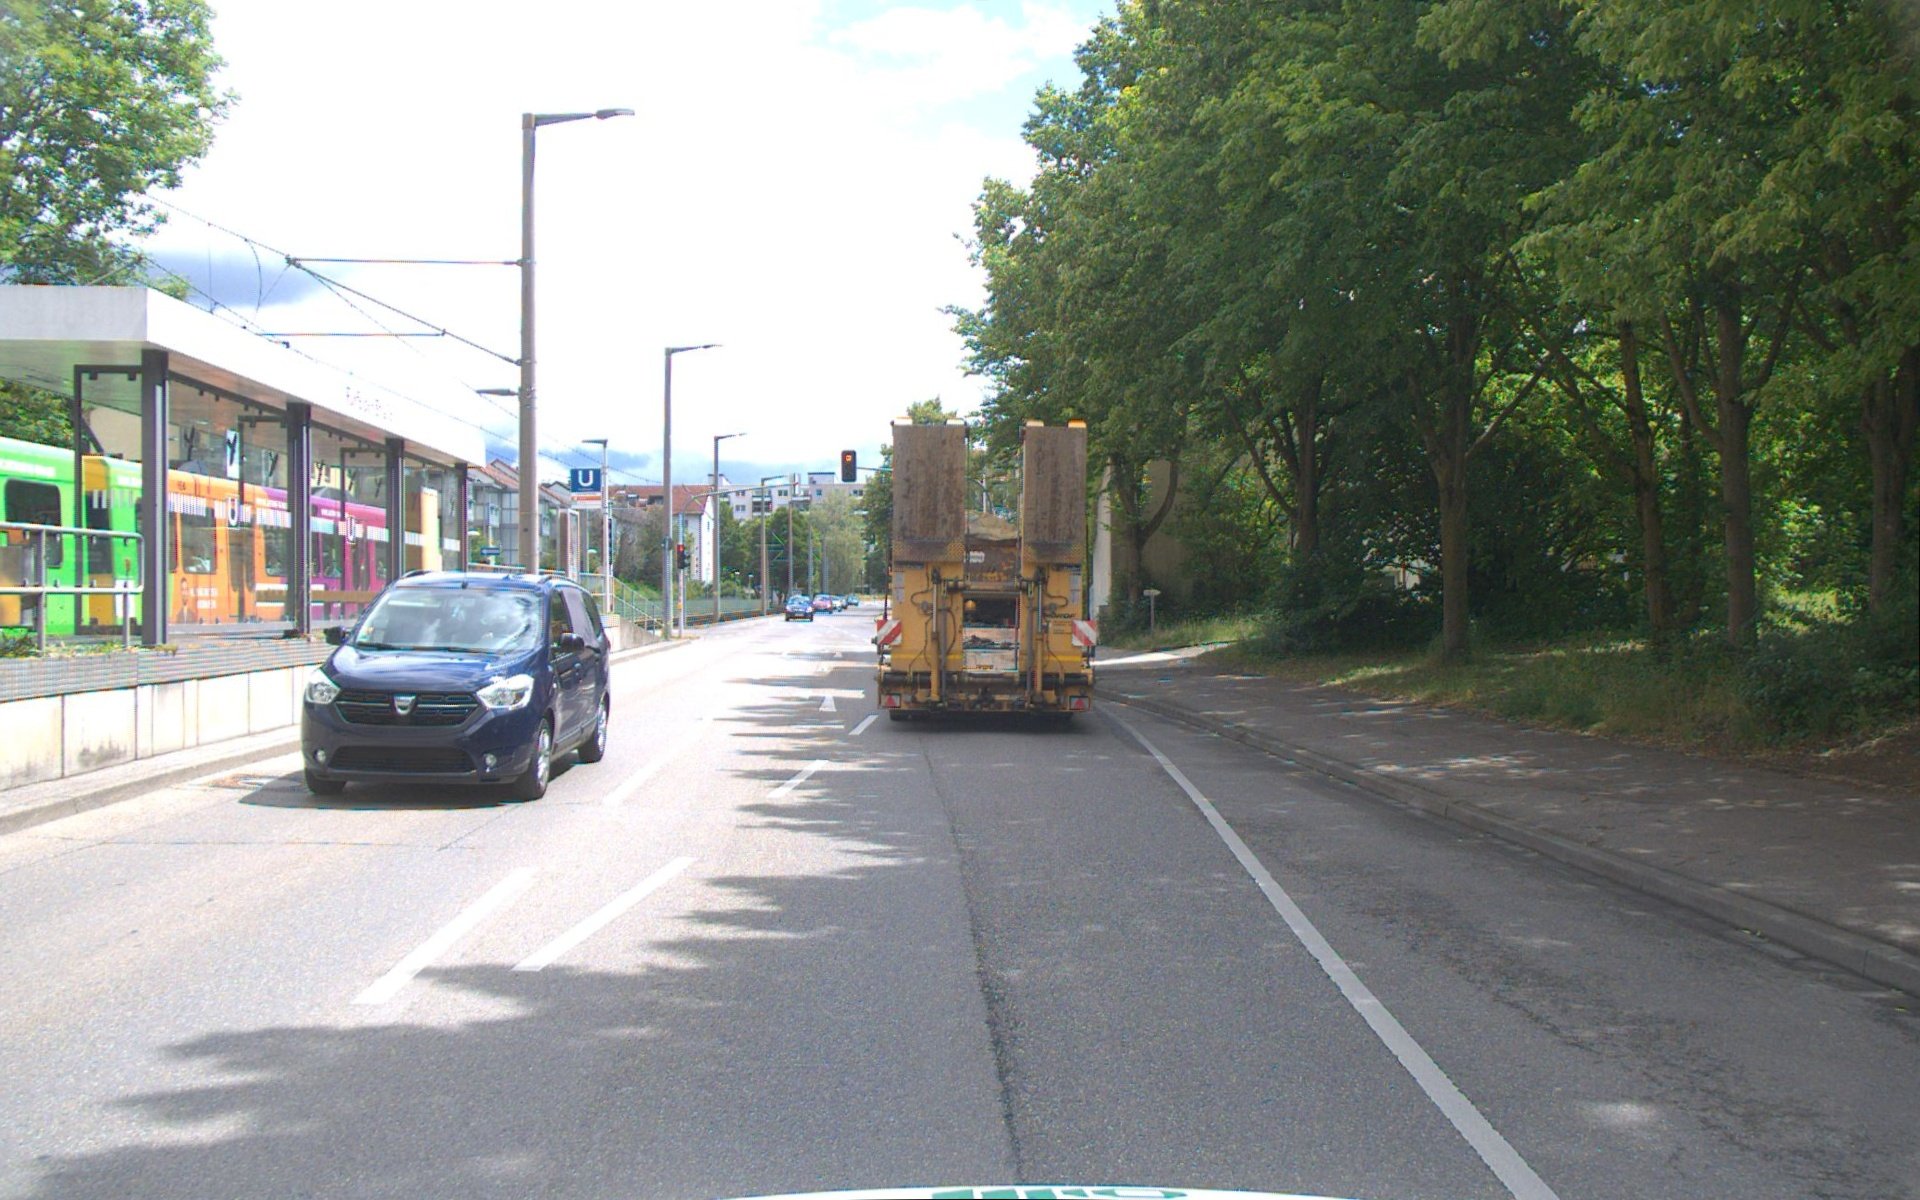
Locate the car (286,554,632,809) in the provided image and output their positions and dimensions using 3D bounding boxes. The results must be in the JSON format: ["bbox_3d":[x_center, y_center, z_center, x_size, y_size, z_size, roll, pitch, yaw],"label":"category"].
[{"bbox_3d":[-3.856,0.553,13.511,1.686,1.712,4.384,1,0,-3],"label":"car"}]

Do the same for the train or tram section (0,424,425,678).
[{"bbox_3d":[-14.563,-0.746,32.535,3.046,3.525,19.074,1,0,-4],"label":"train or tram section"}]

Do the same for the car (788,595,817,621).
[{"bbox_3d":[-9.423,0.504,99.222,1.634,1.478,3.676,1,-1,-4],"label":"car"}]

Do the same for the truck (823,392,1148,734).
[{"bbox_3d":[-0.255,-0.458,25.362,3.337,3.797,13.720,0,0,-6],"label":"truck"}]

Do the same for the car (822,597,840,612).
[{"bbox_3d":[-12.458,0.443,159.601,1.634,1.478,3.676,1,-1,-4],"label":"car"}]

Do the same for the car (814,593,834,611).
[{"bbox_3d":[-11.755,0.218,143.338,1.634,1.478,3.676,1,-1,-4],"label":"car"}]

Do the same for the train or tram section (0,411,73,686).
[{"bbox_3d":[-13.321,-0.657,13.437,3.046,3.525,19.183,1,0,-4],"label":"train or tram section"}]
